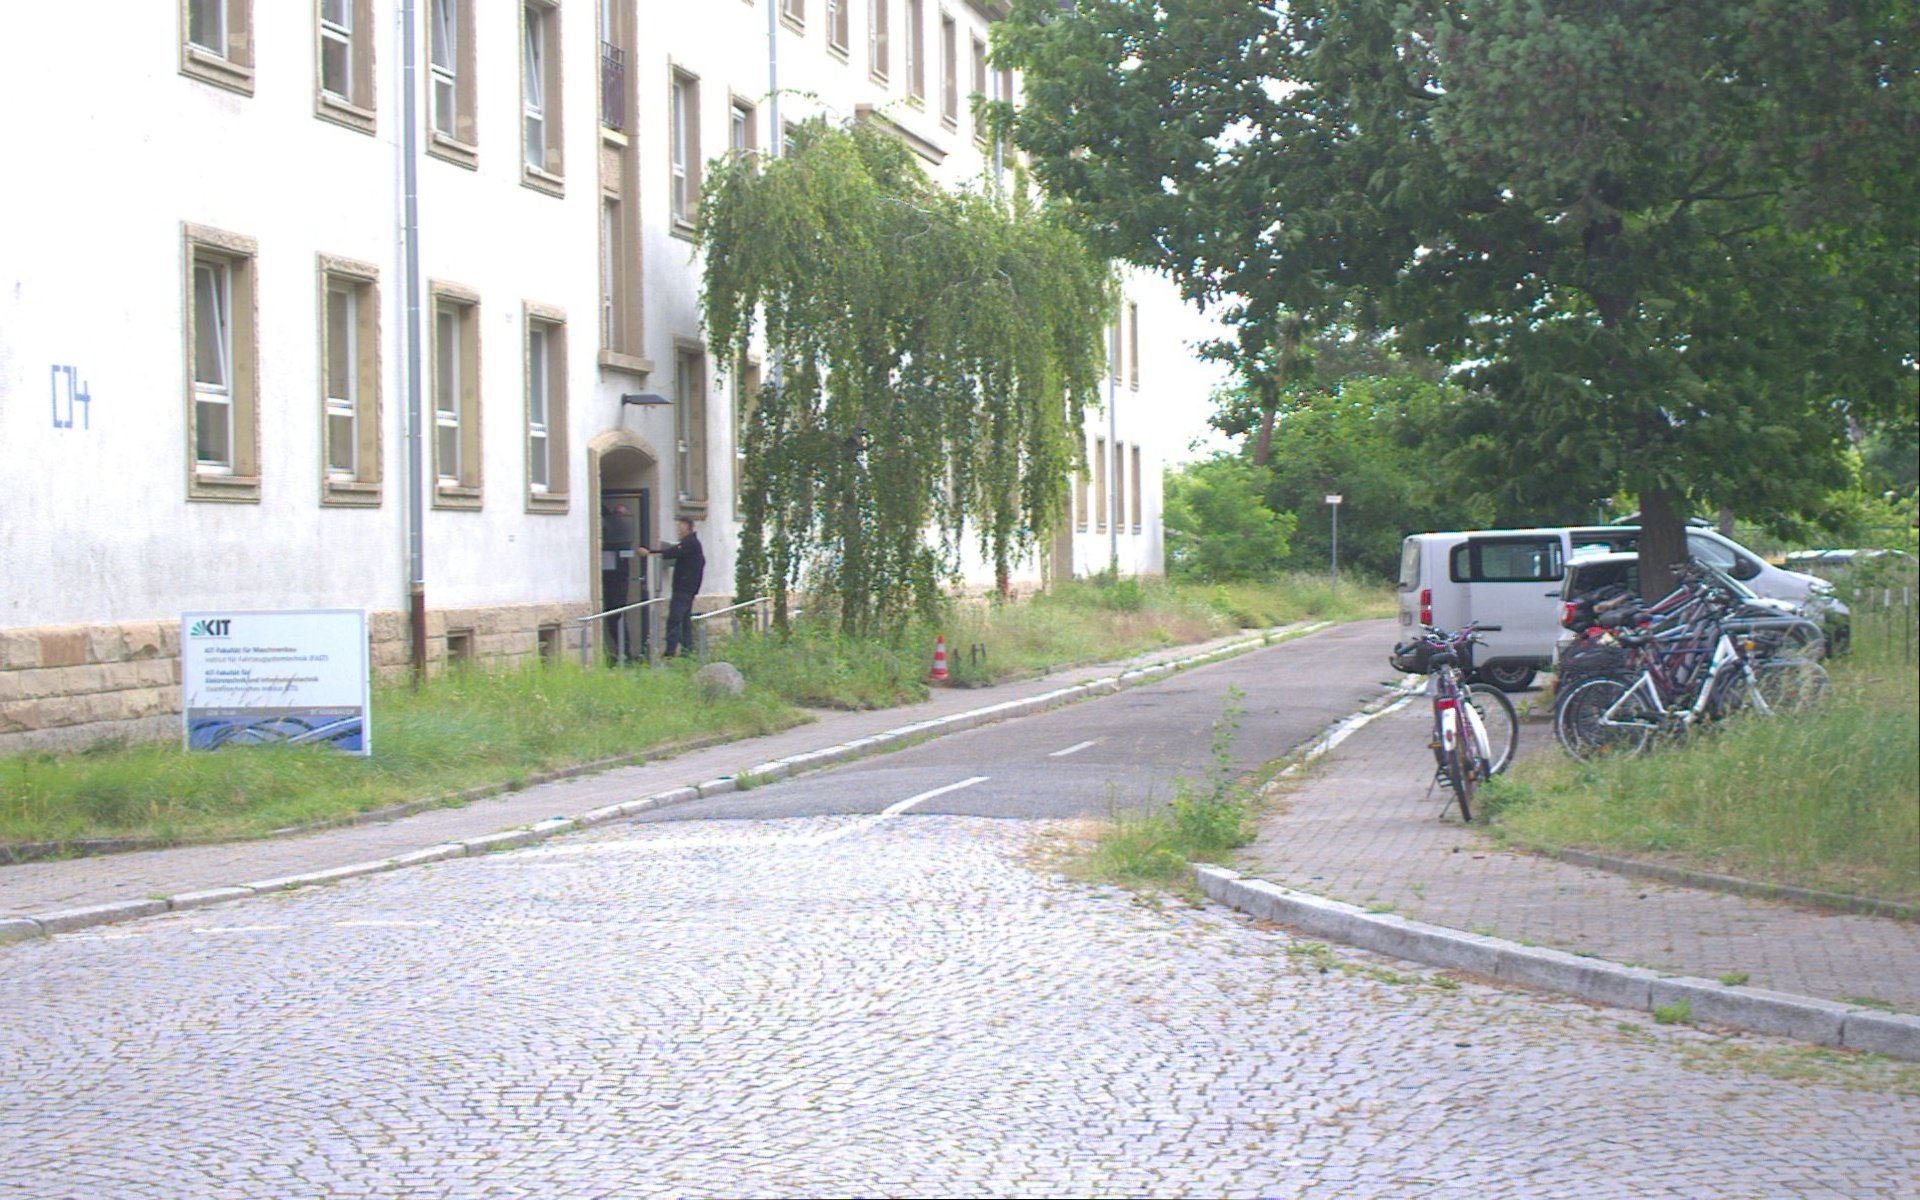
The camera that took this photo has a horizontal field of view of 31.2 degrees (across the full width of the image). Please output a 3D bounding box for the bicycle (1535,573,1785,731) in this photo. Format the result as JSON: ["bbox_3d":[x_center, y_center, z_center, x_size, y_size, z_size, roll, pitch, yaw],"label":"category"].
[{"bbox_3d":[5.868,0.433,28.904,1.983,1.243,0.624,-2,0,9],"label":"bicycle"}]

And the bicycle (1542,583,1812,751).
[{"bbox_3d":[5.445,0.497,26.191,1.983,1.243,0.624,0,0,9],"label":"bicycle"}]

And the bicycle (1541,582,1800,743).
[{"bbox_3d":[5.617,0.487,27.256,1.983,1.243,0.624,0,0,9],"label":"bicycle"}]

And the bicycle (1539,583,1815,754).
[{"bbox_3d":[5.339,0.501,25.677,1.983,1.243,0.624,0,0,9],"label":"bicycle"}]

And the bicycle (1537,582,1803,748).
[{"bbox_3d":[5.474,0.493,26.583,1.983,1.243,0.624,0,0,9],"label":"bicycle"}]

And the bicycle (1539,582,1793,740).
[{"bbox_3d":[5.684,0.482,27.765,1.983,1.243,0.624,0,0,9],"label":"bicycle"}]

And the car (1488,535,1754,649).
[{"bbox_3d":[10.381,-0.128,54.164,4.033,1.712,1.680,-1,0,10],"label":"car"}]

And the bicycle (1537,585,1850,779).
[{"bbox_3d":[4.817,0.529,22.674,1.983,1.243,0.624,0,0,9],"label":"bicycle"}]

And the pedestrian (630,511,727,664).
[{"bbox_3d":[-3.308,-0.150,40.506,0.838,1.775,0.940,-1,1,16],"label":"pedestrian"}]

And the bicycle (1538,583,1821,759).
[{"bbox_3d":[5.223,0.507,25.055,1.983,1.243,0.624,0,0,9],"label":"bicycle"}]

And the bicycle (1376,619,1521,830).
[{"bbox_3d":[2.809,0.680,19.636,0.622,1.110,1.988,0,1,14],"label":"bicycle"}]

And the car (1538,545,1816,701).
[{"bbox_3d":[7.689,0.237,37.006,2.849,1.552,1.471,-1,2,11],"label":"car"}]

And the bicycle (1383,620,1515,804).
[{"bbox_3d":[3.084,0.677,21.573,0.623,1.079,1.676,0,1,15],"label":"bicycle"}]

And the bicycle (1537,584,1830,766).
[{"bbox_3d":[5.074,0.515,24.208,1.983,1.243,0.624,0,0,9],"label":"bicycle"}]

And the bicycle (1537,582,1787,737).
[{"bbox_3d":[5.754,0.477,28.255,1.983,1.243,0.624,0,0,9],"label":"bicycle"}]

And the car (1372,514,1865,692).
[{"bbox_3d":[7.702,0.023,40.544,5.303,1.909,2.150,-1,1,-3],"label":"car"}]

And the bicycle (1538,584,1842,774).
[{"bbox_3d":[4.926,0.523,23.294,1.983,1.243,0.624,0,0,9],"label":"bicycle"}]
